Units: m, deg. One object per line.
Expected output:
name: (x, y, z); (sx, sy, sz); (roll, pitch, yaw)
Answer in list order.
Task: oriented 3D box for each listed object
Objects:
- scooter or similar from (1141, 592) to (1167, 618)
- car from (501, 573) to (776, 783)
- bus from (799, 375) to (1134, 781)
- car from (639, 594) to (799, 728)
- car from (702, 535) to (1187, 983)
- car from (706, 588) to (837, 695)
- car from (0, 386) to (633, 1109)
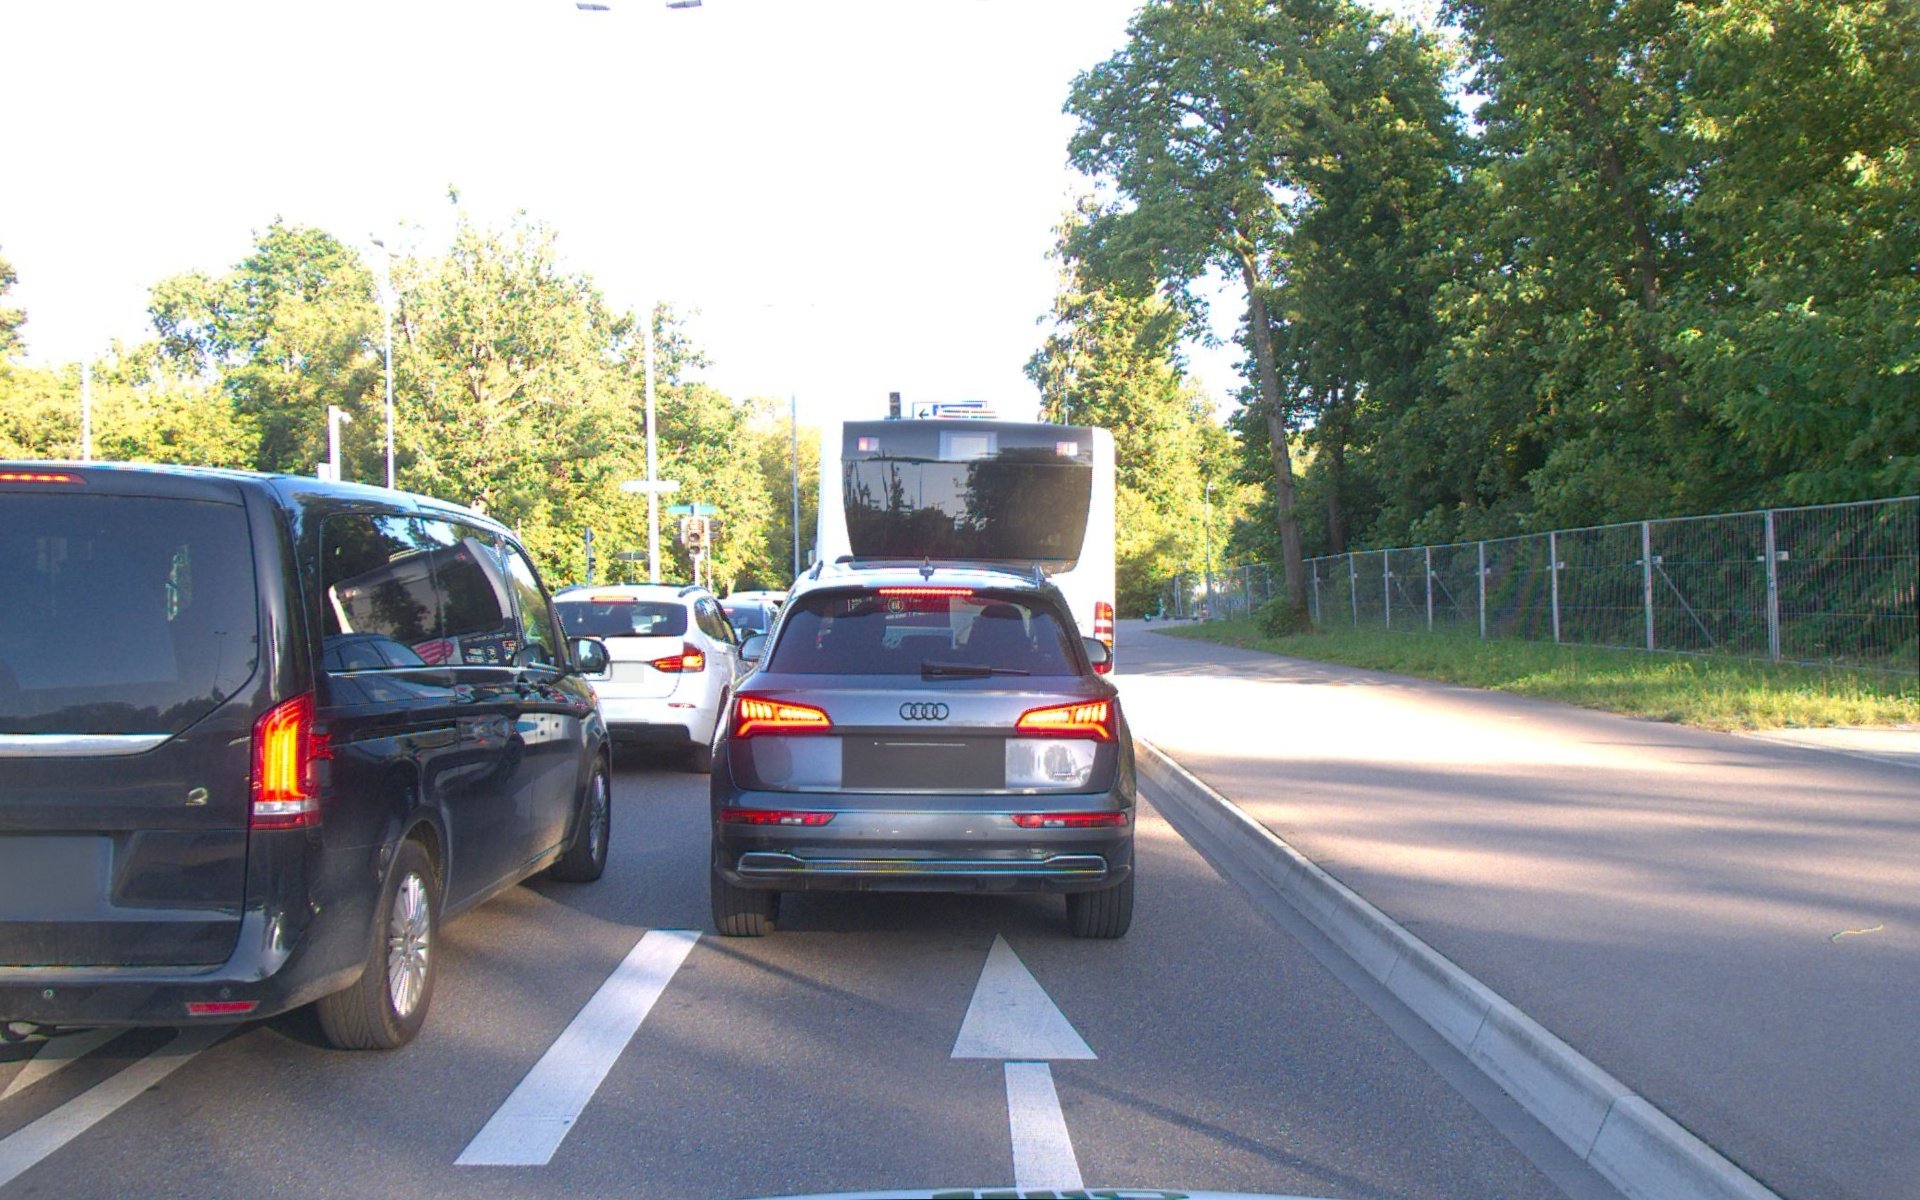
scooter or similar: (9.180, 0.242, 78.116); (1.158, 1.195, 0.659); (1, 0, 11)
car: (-2.754, 0.609, 15.115); (1.683, 1.608, 4.433); (1, 0, -1)
bus: (0.077, -0.215, 16.132); (2.623, 3.196, 5.882); (1, 1, 0)
car: (-2.984, 0.698, 21.210); (1.750, 1.469, 4.274); (1, 1, -5)
car: (-0.085, 0.584, 8.334); (1.830, 1.693, 4.000); (1, 1, -1)
car: (-3.073, 0.626, 27.649); (1.771, 1.599, 4.000); (1, 1, -1)
car: (-2.717, 0.372, 6.767); (1.868, 1.888, 4.872); (1, 0, -1)
